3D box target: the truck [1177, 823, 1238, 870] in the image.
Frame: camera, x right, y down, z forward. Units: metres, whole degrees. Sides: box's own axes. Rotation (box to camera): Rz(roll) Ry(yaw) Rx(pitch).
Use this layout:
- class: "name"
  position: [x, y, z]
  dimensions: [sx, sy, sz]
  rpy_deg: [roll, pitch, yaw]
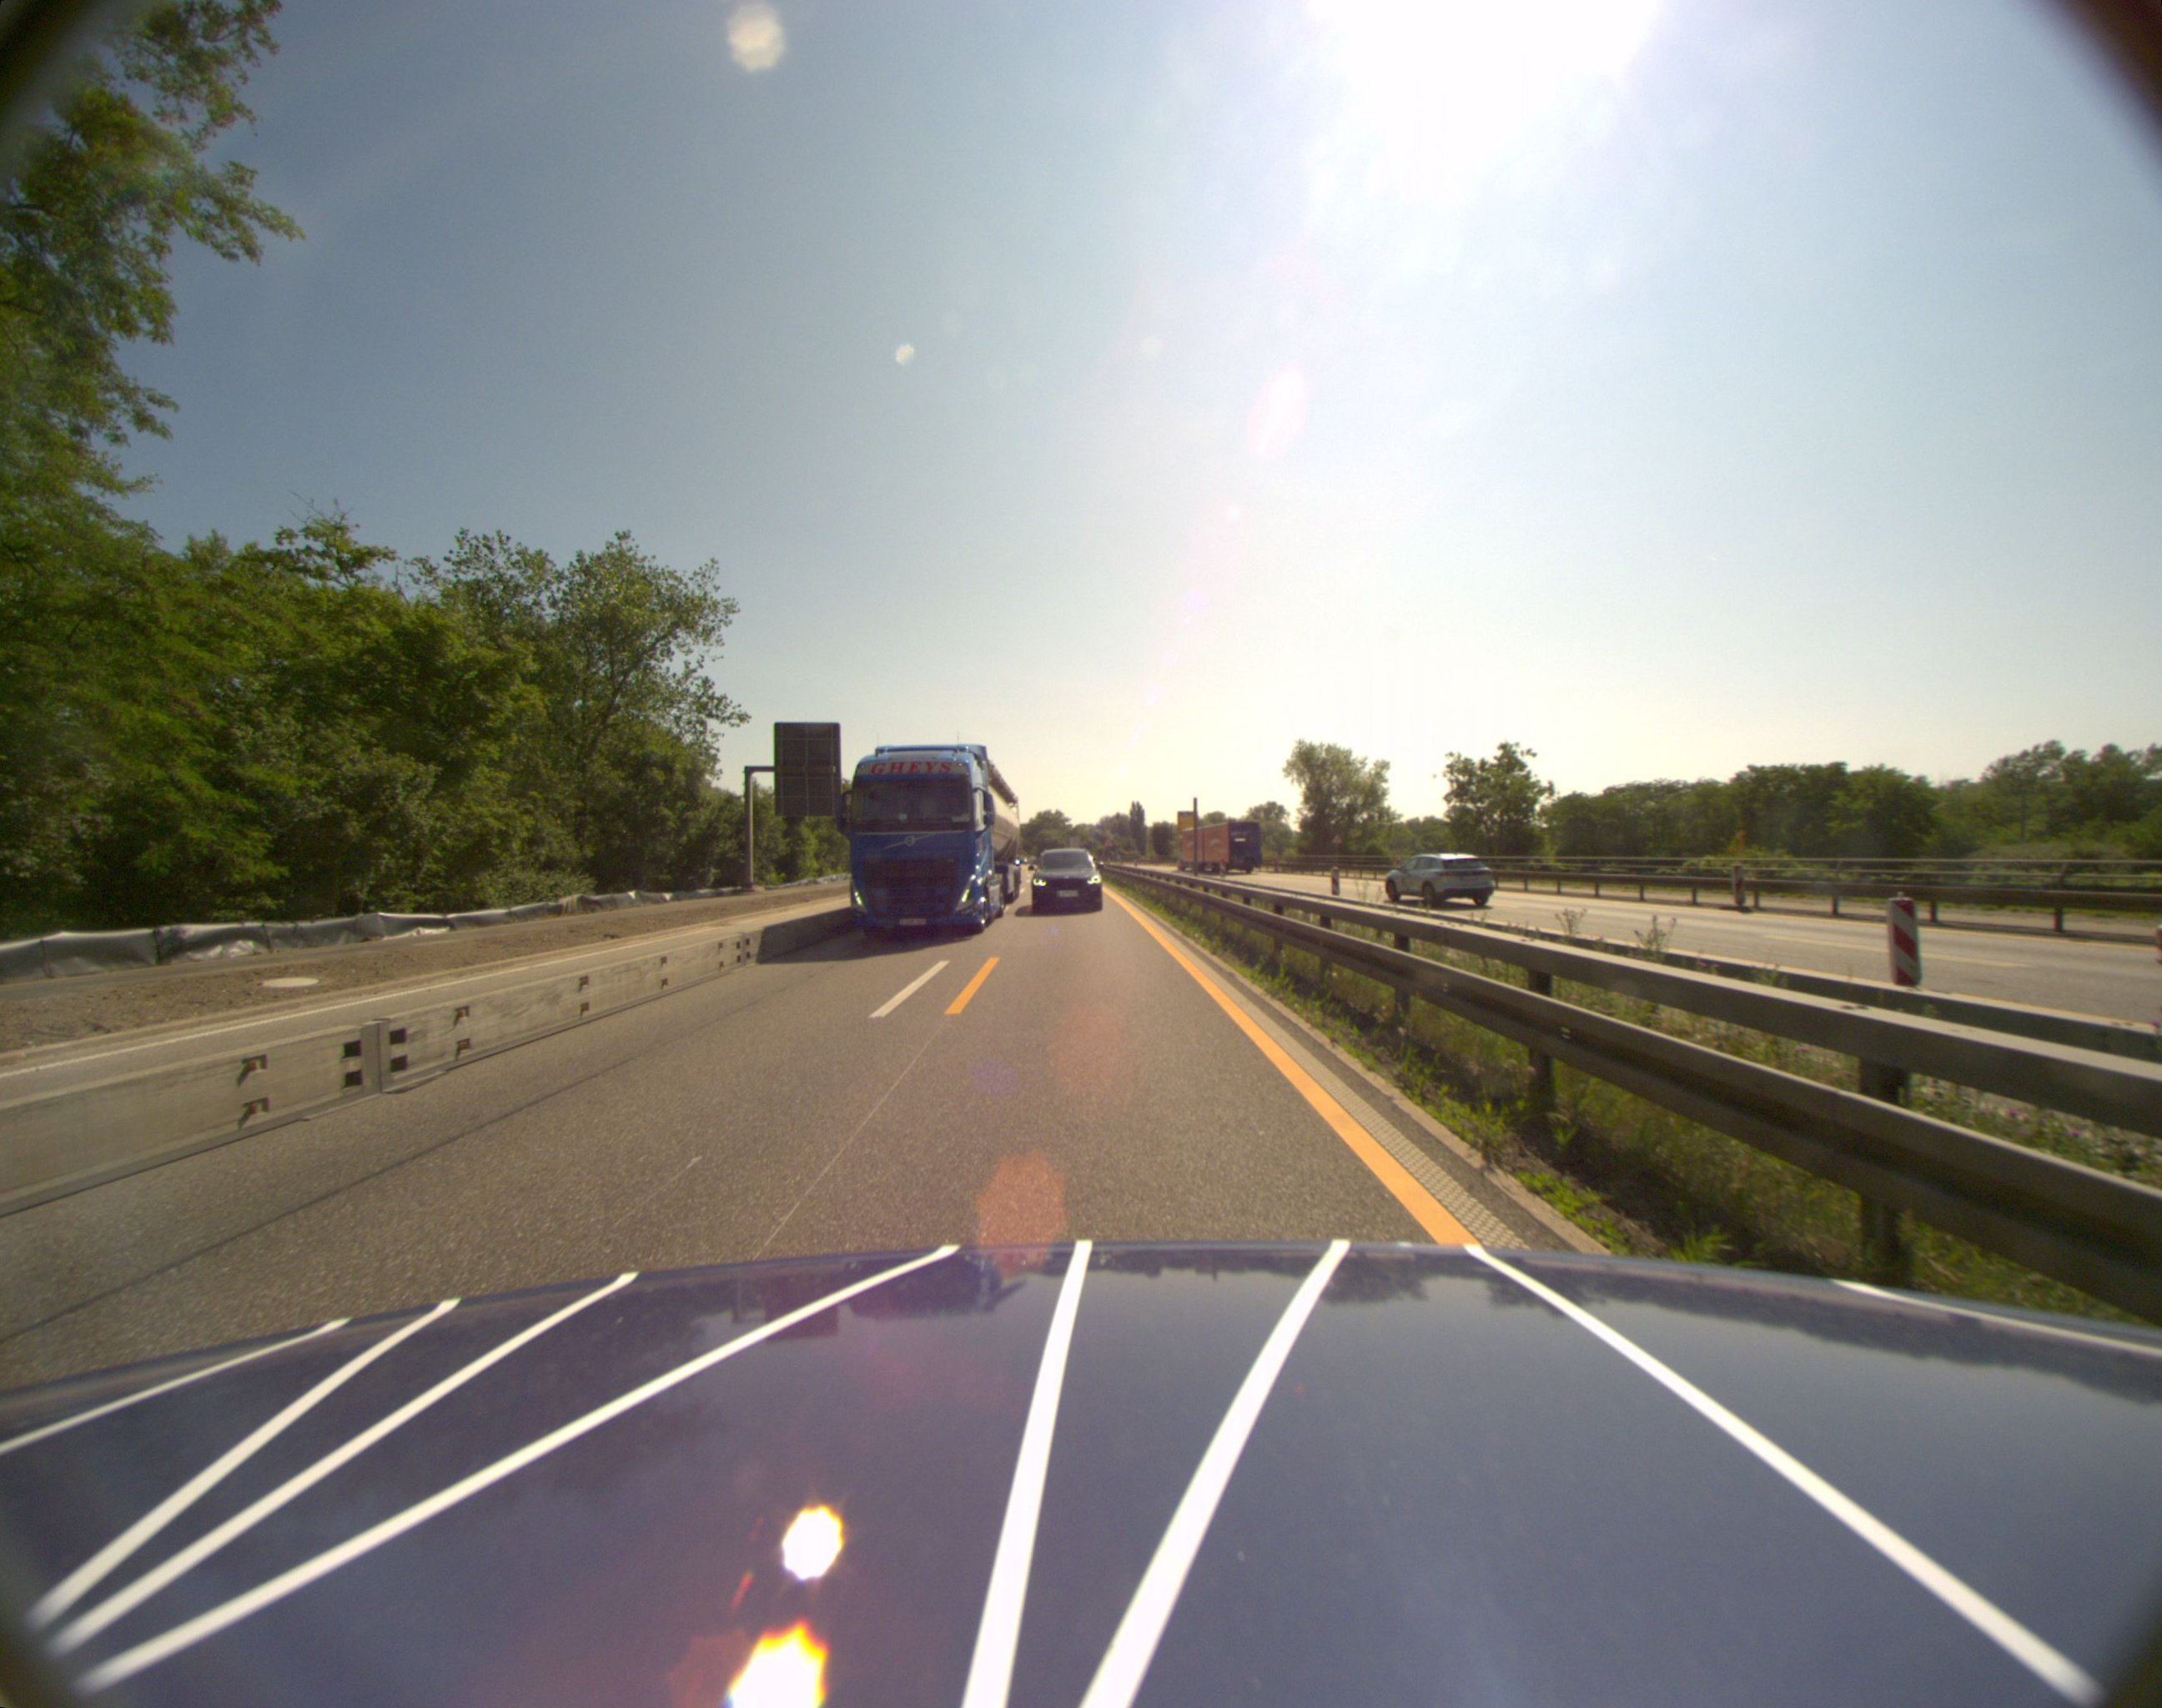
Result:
- class: "truck"
  position: [11.958, -0.690, 73.044]
  dimensions: [3.047, 4.067, 10.618]
  rpy_deg: [-2, 0, -6]

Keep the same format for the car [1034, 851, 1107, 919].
- class: "car"
  position: [-0.395, 0.766, 21.430]
  dimensions: [1.790, 1.651, 4.485]
  rpy_deg: [-2, 0, -3]

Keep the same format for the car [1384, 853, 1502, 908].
- class: "car"
  position: [11.691, 0.801, 24.920]
  dimensions: [1.914, 1.641, 4.376]
  rpy_deg: [0, 0, 2]

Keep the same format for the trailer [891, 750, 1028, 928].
- class: "trailer"
  position: [-3.270, -0.334, 23.988]
  dimensions: [2.701, 4.113, 12.611]
  rpy_deg: [1, 0, -2]

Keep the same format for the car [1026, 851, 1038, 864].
- class: "car"
  position: [-8.075, 0.607, 125.436]
  dimensions: [1.999, 2.002, 3.999]
  rpy_deg: [1, 0, -3]

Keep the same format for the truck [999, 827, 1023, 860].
- class: "truck"
  position: [-8.767, -1.226, 95.897]
  dimensions: [2.862, 3.961, 8.662]
  rpy_deg: [1, 0, -4]

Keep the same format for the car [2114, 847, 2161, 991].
- class: "car"
  position: [13.941, 0.769, 7.065]
  dimensions: [1.914, 1.724, 5.020]
  rpy_deg: [-2, 0, 2]

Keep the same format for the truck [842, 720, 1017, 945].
- class: "truck"
  position: [-3.073, -0.384, 17.513]
  dimensions: [2.701, 4.078, 7.299]
  rpy_deg: [1, 0, -1]

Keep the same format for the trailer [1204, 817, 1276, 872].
- class: "trailer"
  position: [12.904, -0.720, 62.906]
  dimensions: [3.047, 4.067, 9.783]
  rpy_deg: [-2, 0, -5]
